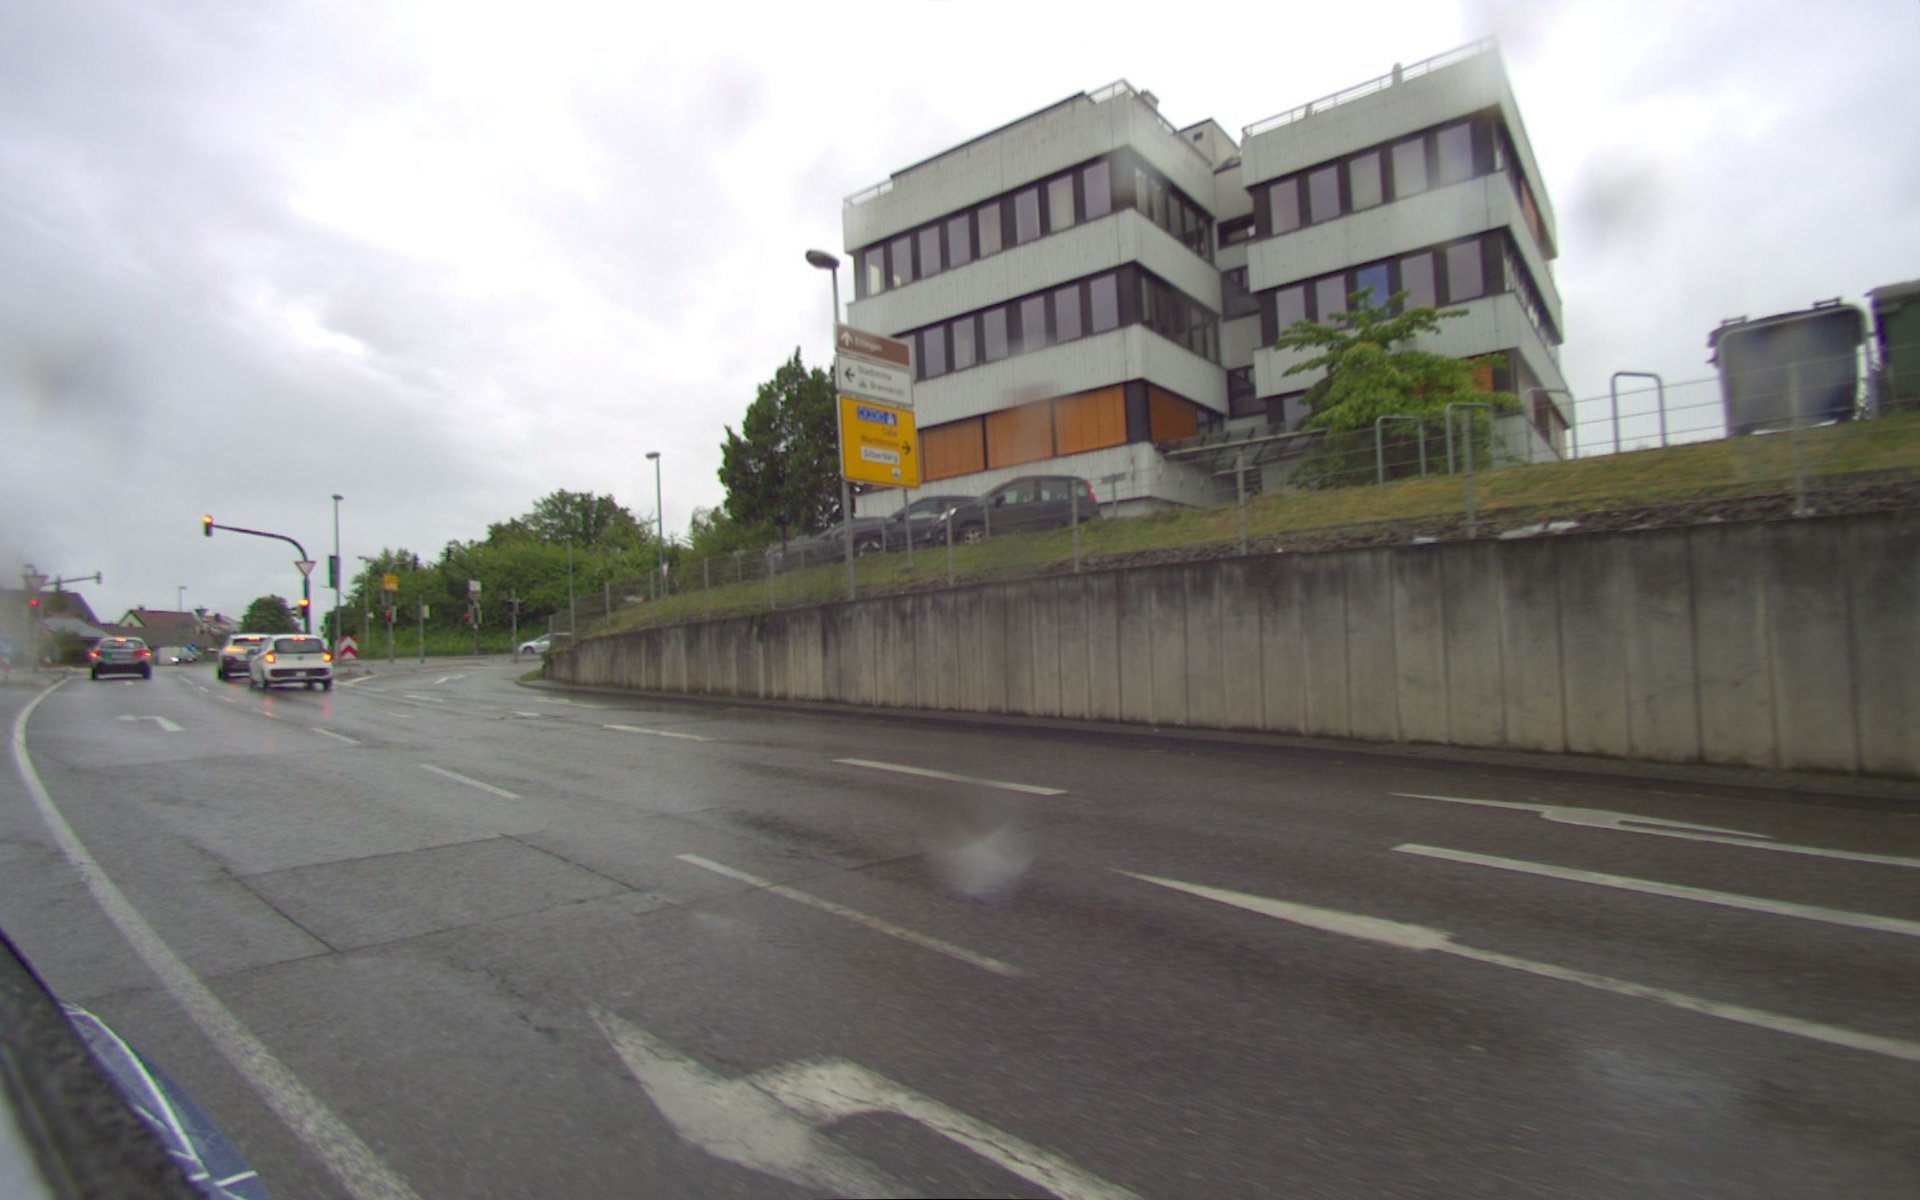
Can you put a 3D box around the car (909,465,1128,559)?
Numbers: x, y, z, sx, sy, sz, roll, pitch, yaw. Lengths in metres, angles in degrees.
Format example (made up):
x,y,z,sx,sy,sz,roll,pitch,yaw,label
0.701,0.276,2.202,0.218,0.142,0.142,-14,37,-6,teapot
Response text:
x,y,z,sx,sy,sz,roll,pitch,yaw,label
1.127,-1.712,20.377,3.932,1.666,2.006,-1,0,-15,car

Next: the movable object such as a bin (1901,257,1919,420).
x,y,z,sx,sy,sz,roll,pitch,yaw,label
9.723,-2.533,9.508,1.227,1.356,1.218,-1,-1,-45,movable object such as a bin

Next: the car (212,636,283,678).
x,y,z,sx,sy,sz,roll,pitch,yaw,label
-25.798,2.031,36.595,1.712,1.314,3.726,-1,0,-41,car

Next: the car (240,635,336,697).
x,y,z,sx,sy,sz,roll,pitch,yaw,label
-18.663,1.762,28.050,1.712,1.471,3.726,-1,0,-41,car

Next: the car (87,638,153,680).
x,y,z,sx,sy,sz,roll,pitch,yaw,label
-30.353,2.091,36.549,1.712,1.314,3.726,-1,0,-41,car

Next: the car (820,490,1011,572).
x,y,z,sx,sy,sz,roll,pitch,yaw,label
-1.055,-1.507,22.860,3.932,1.666,2.006,-1,0,-15,car

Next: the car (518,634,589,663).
x,y,z,sx,sy,sz,roll,pitch,yaw,label
-26.795,3.187,66.813,3.938,1.796,2.003,-1,0,-7,car

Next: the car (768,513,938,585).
x,y,z,sx,sy,sz,roll,pitch,yaw,label
-2.717,-1.247,25.288,3.932,1.666,2.006,-1,0,-15,car

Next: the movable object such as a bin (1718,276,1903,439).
x,y,z,sx,sy,sz,roll,pitch,yaw,label
8.758,-2.427,10.423,1.343,1.221,1.227,-2,-1,44,movable object such as a bin
